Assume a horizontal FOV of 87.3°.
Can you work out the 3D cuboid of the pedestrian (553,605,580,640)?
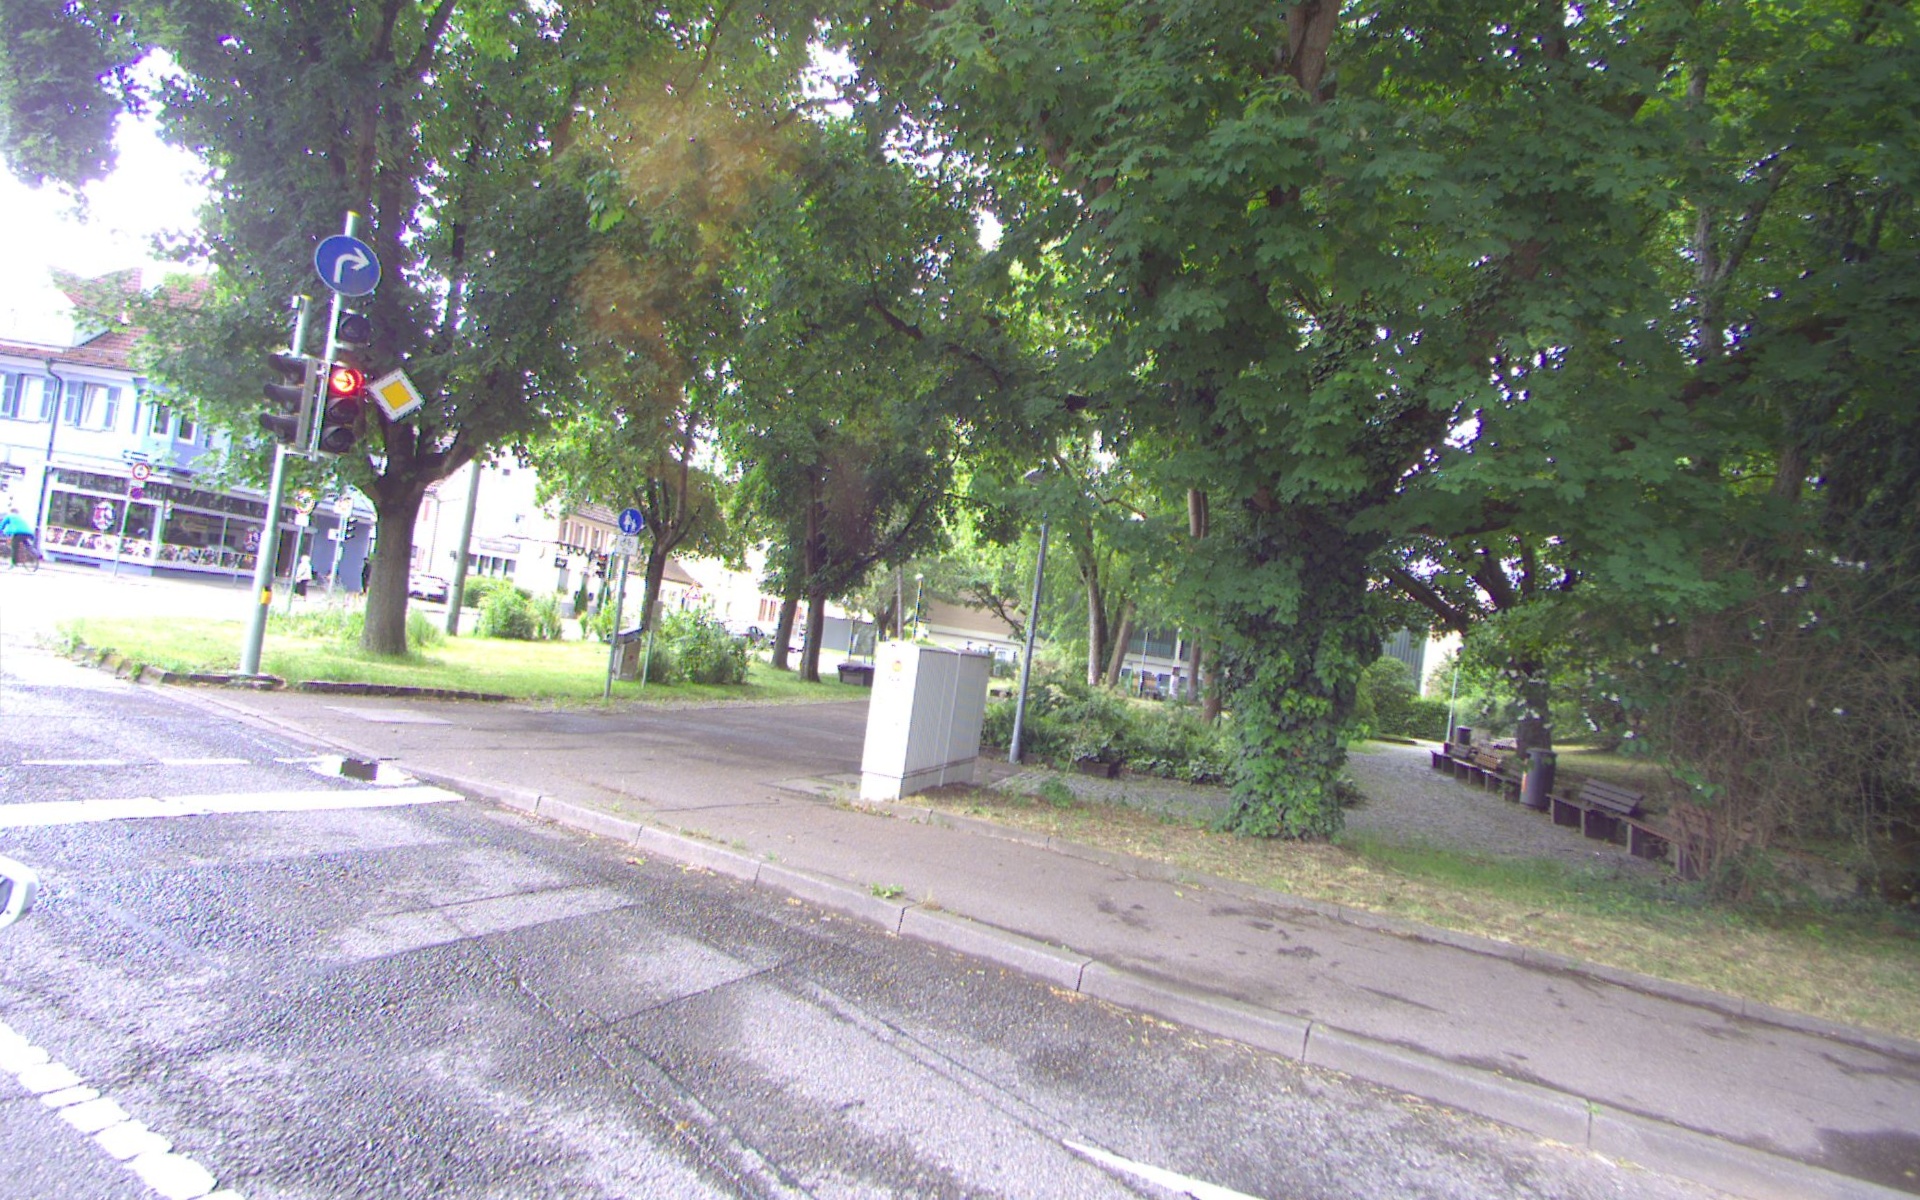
[{"bbox_3d":[-12.978,0.752,33.221,0.506,1.093,0.507,6,-1,17],"label":"pedestrian"}]

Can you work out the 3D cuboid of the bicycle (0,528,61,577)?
[{"bbox_3d":[-26.337,-1.365,28.081,1.916,1.162,0.877,7,-1,17],"label":"bicycle"}]

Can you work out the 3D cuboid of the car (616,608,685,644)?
[{"bbox_3d":[-13.512,1.160,44.026,1.436,1.282,3.014,7,-2,13],"label":"car"}]

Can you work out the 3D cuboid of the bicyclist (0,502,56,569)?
[{"bbox_3d":[-26.186,-1.800,28.044,0.970,1.670,0.919,7,-1,17],"label":"bicyclist"}]

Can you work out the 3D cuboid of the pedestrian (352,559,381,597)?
[{"bbox_3d":[-26.805,-0.980,45.447,0.732,1.578,0.673,6,-1,17],"label":"pedestrian"}]

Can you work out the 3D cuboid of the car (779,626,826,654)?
[{"bbox_3d":[-10.281,2.650,66.041,1.618,1.474,3.740,7,-2,13],"label":"car"}]

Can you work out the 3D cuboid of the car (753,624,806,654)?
[{"bbox_3d":[-10.707,2.333,59.910,1.618,1.474,3.740,7,-2,13],"label":"car"}]

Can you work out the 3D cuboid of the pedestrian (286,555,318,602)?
[{"bbox_3d":[-23.565,-0.766,36.034,0.725,1.578,0.763,7,-1,-27],"label":"pedestrian"}]

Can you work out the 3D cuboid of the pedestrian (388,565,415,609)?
[{"bbox_3d":[-20.928,-0.485,37.709,0.688,1.578,0.662,7,-1,-27],"label":"pedestrian"}]

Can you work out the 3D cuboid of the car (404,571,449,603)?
[{"bbox_3d":[-28.181,-0.698,53.163,1.870,1.406,3.589,9,-2,-28],"label":"car"}]

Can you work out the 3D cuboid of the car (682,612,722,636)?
[{"bbox_3d":[-19.043,1.811,74.445,1.736,1.463,3.865,7,-2,2],"label":"car"}]

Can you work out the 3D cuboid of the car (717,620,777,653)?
[{"bbox_3d":[-11.570,2.010,54.936,1.618,1.474,3.740,7,-2,13],"label":"car"}]
